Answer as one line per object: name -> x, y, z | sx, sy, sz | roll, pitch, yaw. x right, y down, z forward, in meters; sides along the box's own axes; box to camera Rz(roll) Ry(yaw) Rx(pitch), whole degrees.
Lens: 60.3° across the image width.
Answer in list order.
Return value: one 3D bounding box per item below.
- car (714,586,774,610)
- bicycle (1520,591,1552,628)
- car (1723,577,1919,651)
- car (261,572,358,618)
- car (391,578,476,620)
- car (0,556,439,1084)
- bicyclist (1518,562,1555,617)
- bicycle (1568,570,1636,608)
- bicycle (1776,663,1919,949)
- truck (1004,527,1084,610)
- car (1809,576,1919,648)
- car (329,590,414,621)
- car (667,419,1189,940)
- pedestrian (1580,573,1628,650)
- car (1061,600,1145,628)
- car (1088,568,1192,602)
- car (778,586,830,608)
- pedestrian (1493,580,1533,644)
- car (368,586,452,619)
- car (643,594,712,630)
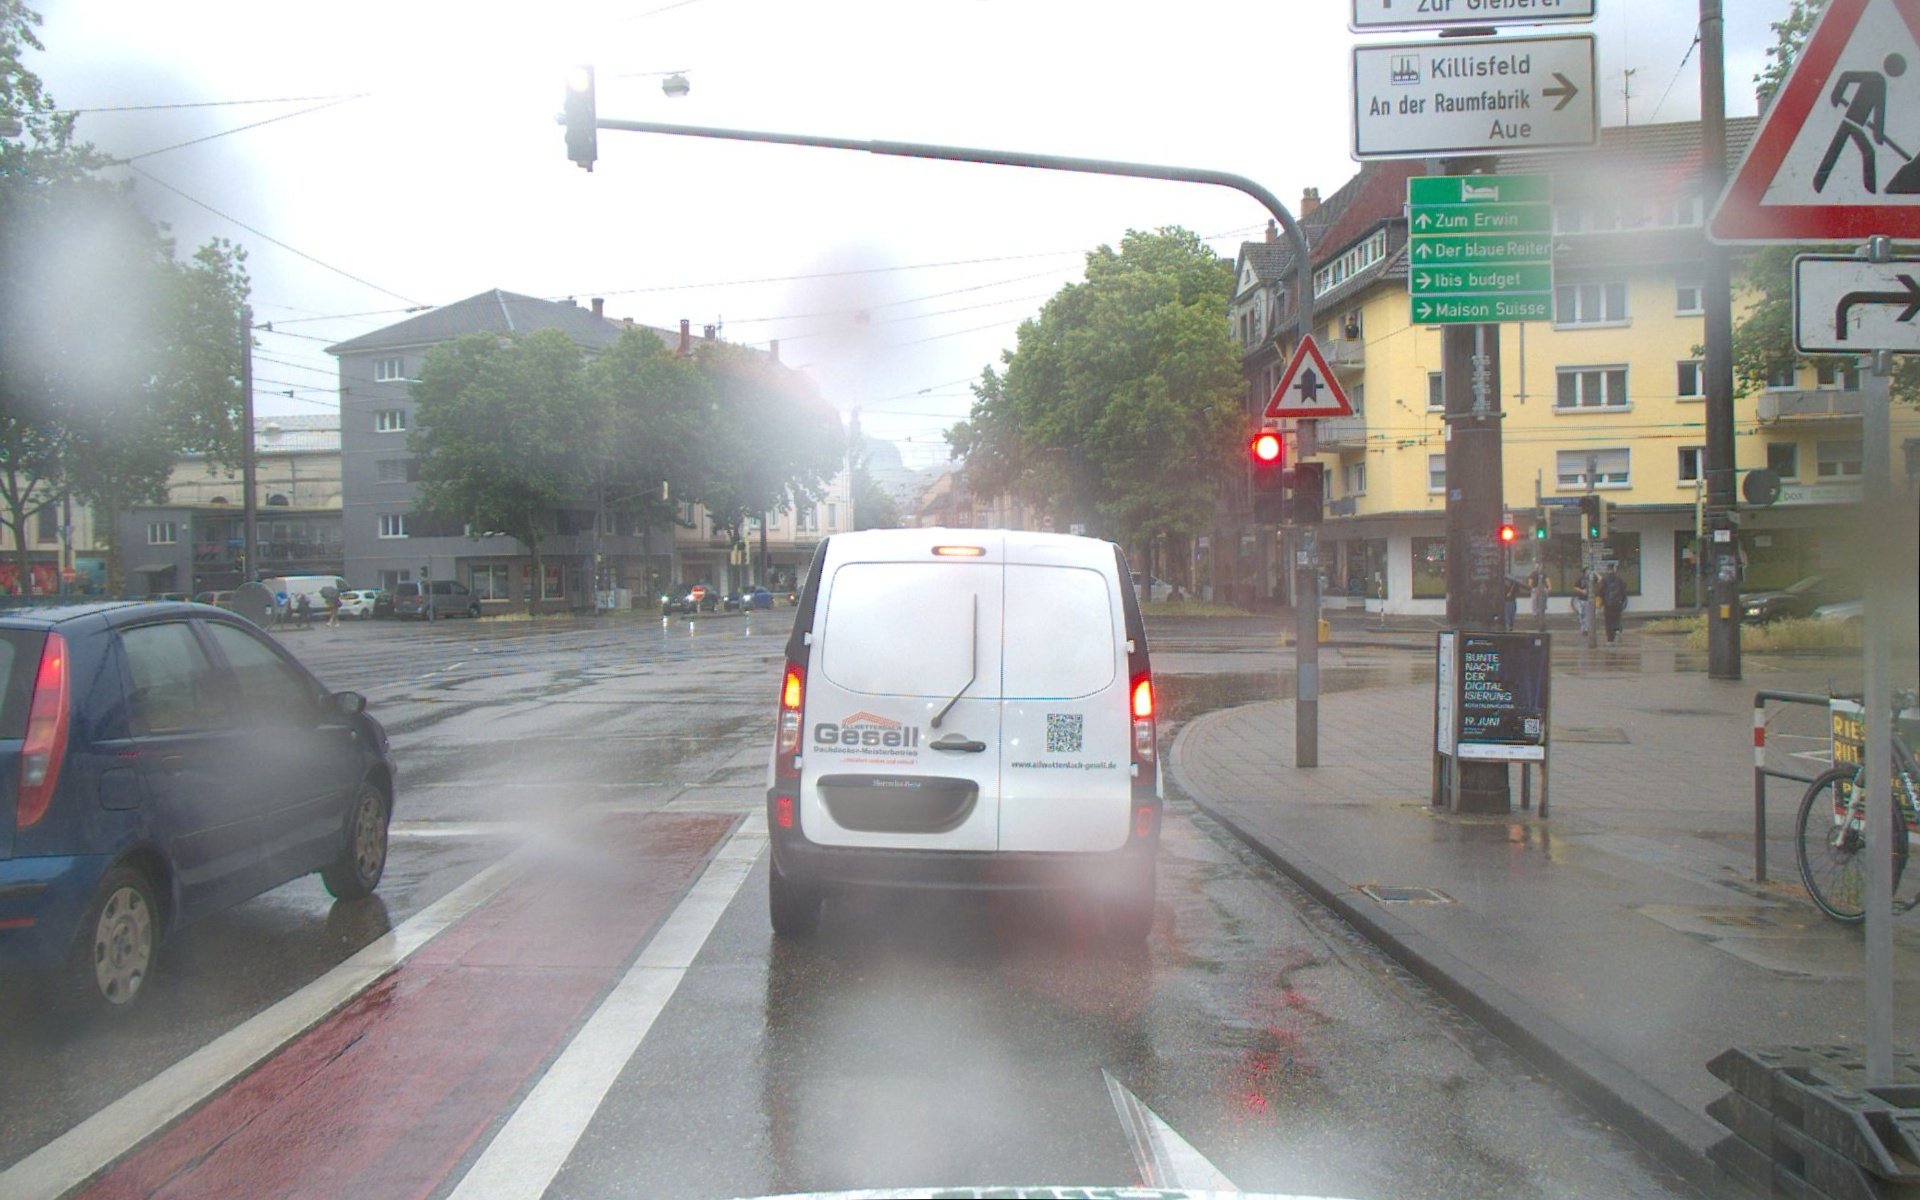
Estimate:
car -> -12.125, -0.132, 93.220 | 1.909, 1.260, 4.003 | 0, 2, 16
bicycle -> 16.713, 0.258, 47.968 | 0.644, 1.045, 2.022 | 0, 0, 26
car -> 20.861, 0.346, 39.062 | 4.832, 1.672, 2.001 | 0, -2, 11
car -> -34.141, -0.290, 86.958 | 1.953, 2.236, 4.787 | 1, 2, 22
car -> -26.795, -0.059, 84.284 | 1.954, 2.049, 3.996 | 0, 0, 26
car -> -3.611, 0.656, 6.927 | 1.692, 1.606, 3.820 | 0, 0, -1
bicyclist -> 16.719, -0.311, 47.946 | 0.915, 1.574, 1.068 | 0, 0, 25
bicycle -> 21.554, -0.378, 55.574 | 2.056, 1.283, 0.532 | 0, 1, 14
bicycle -> 4.251, 0.893, 7.071 | 0.503, 1.126, 2.017 | 3, 1, 1
truck -> 5.764, -1.979, 109.945 | 3.395, 5.176, 15.320 | 0, 0, 10
car -> 20.788, 0.249, 35.930 | 3.854, 1.516, 1.808 | 0, 1, 15
car -> -30.974, 0.270, 87.156 | 1.915, 1.522, 3.997 | 0, 2, 26
car -> -0.159, 0.311, 9.020 | 2.058, 2.047, 4.962 | 0, 0, -1
pedestrian -> 14.584, 0.254, 37.461 | 0.887, 1.698, 1.018 | 0, 0, 28
car -> 6.140, 0.610, 71.144 | 3.378, 1.150, 1.469 | 0, 0, -9
car -> 7.517, -0.625, 69.050 | 4.088, 1.362, 1.518 | 0, 1, -8
car -> -9.650, -0.223, 102.574 | 1.909, 1.260, 4.003 | 0, 2, 16
pedestrian -> 13.804, 0.297, 41.264 | 0.809, 1.560, 0.614 | 0, 0, -39
car -> -28.681, 0.121, 86.386 | 1.954, 1.556, 3.997 | 0, 2, 26
car -> -14.294, 0.578, 83.918 | 1.909, 1.635, 4.003 | 0, 2, 16
